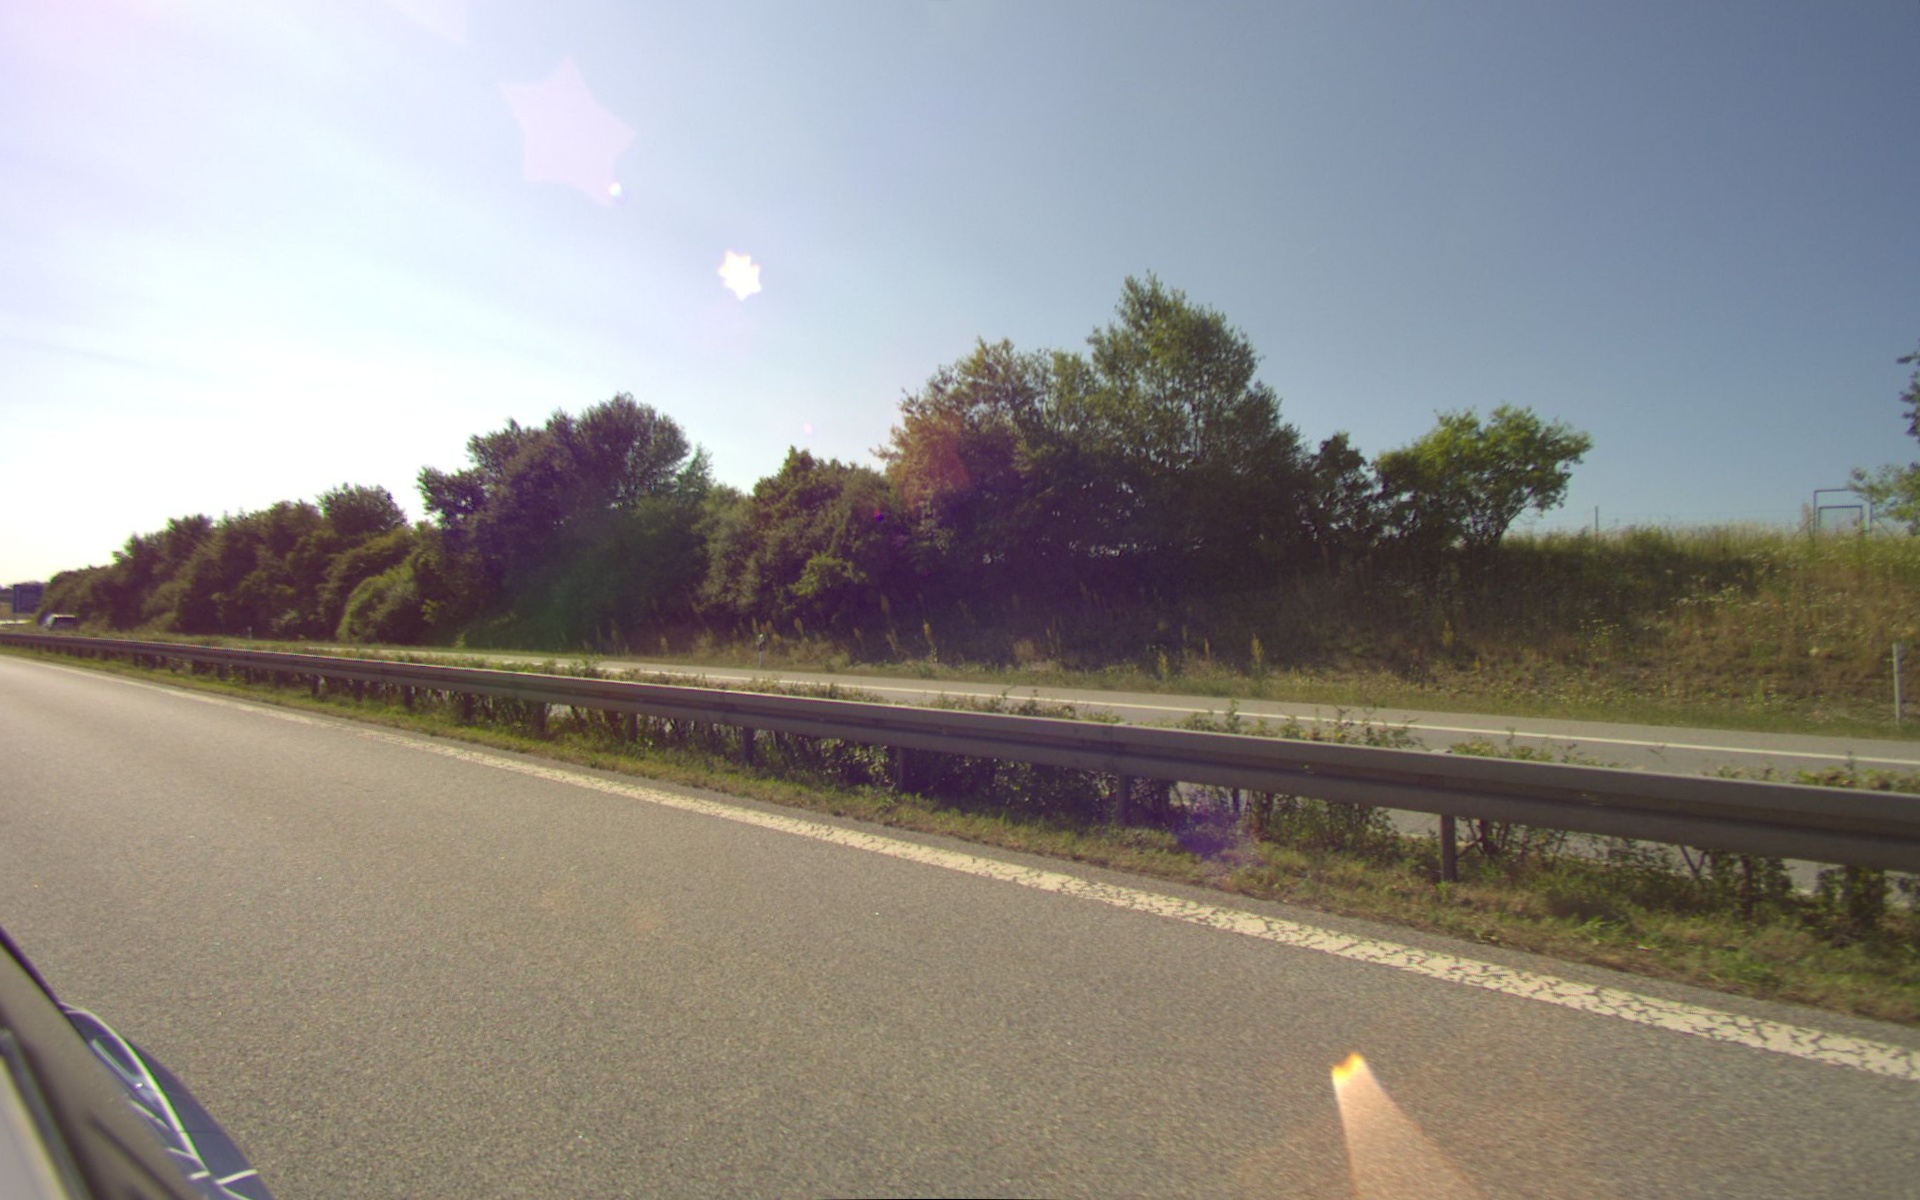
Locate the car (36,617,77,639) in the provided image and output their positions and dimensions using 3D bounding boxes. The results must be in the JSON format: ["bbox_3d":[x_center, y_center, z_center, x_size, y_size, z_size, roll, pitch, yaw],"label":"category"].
[{"bbox_3d":[-69.237,2.128,77.520,4.789,1.596,1.749,-1,-2,41],"label":"car"}]
